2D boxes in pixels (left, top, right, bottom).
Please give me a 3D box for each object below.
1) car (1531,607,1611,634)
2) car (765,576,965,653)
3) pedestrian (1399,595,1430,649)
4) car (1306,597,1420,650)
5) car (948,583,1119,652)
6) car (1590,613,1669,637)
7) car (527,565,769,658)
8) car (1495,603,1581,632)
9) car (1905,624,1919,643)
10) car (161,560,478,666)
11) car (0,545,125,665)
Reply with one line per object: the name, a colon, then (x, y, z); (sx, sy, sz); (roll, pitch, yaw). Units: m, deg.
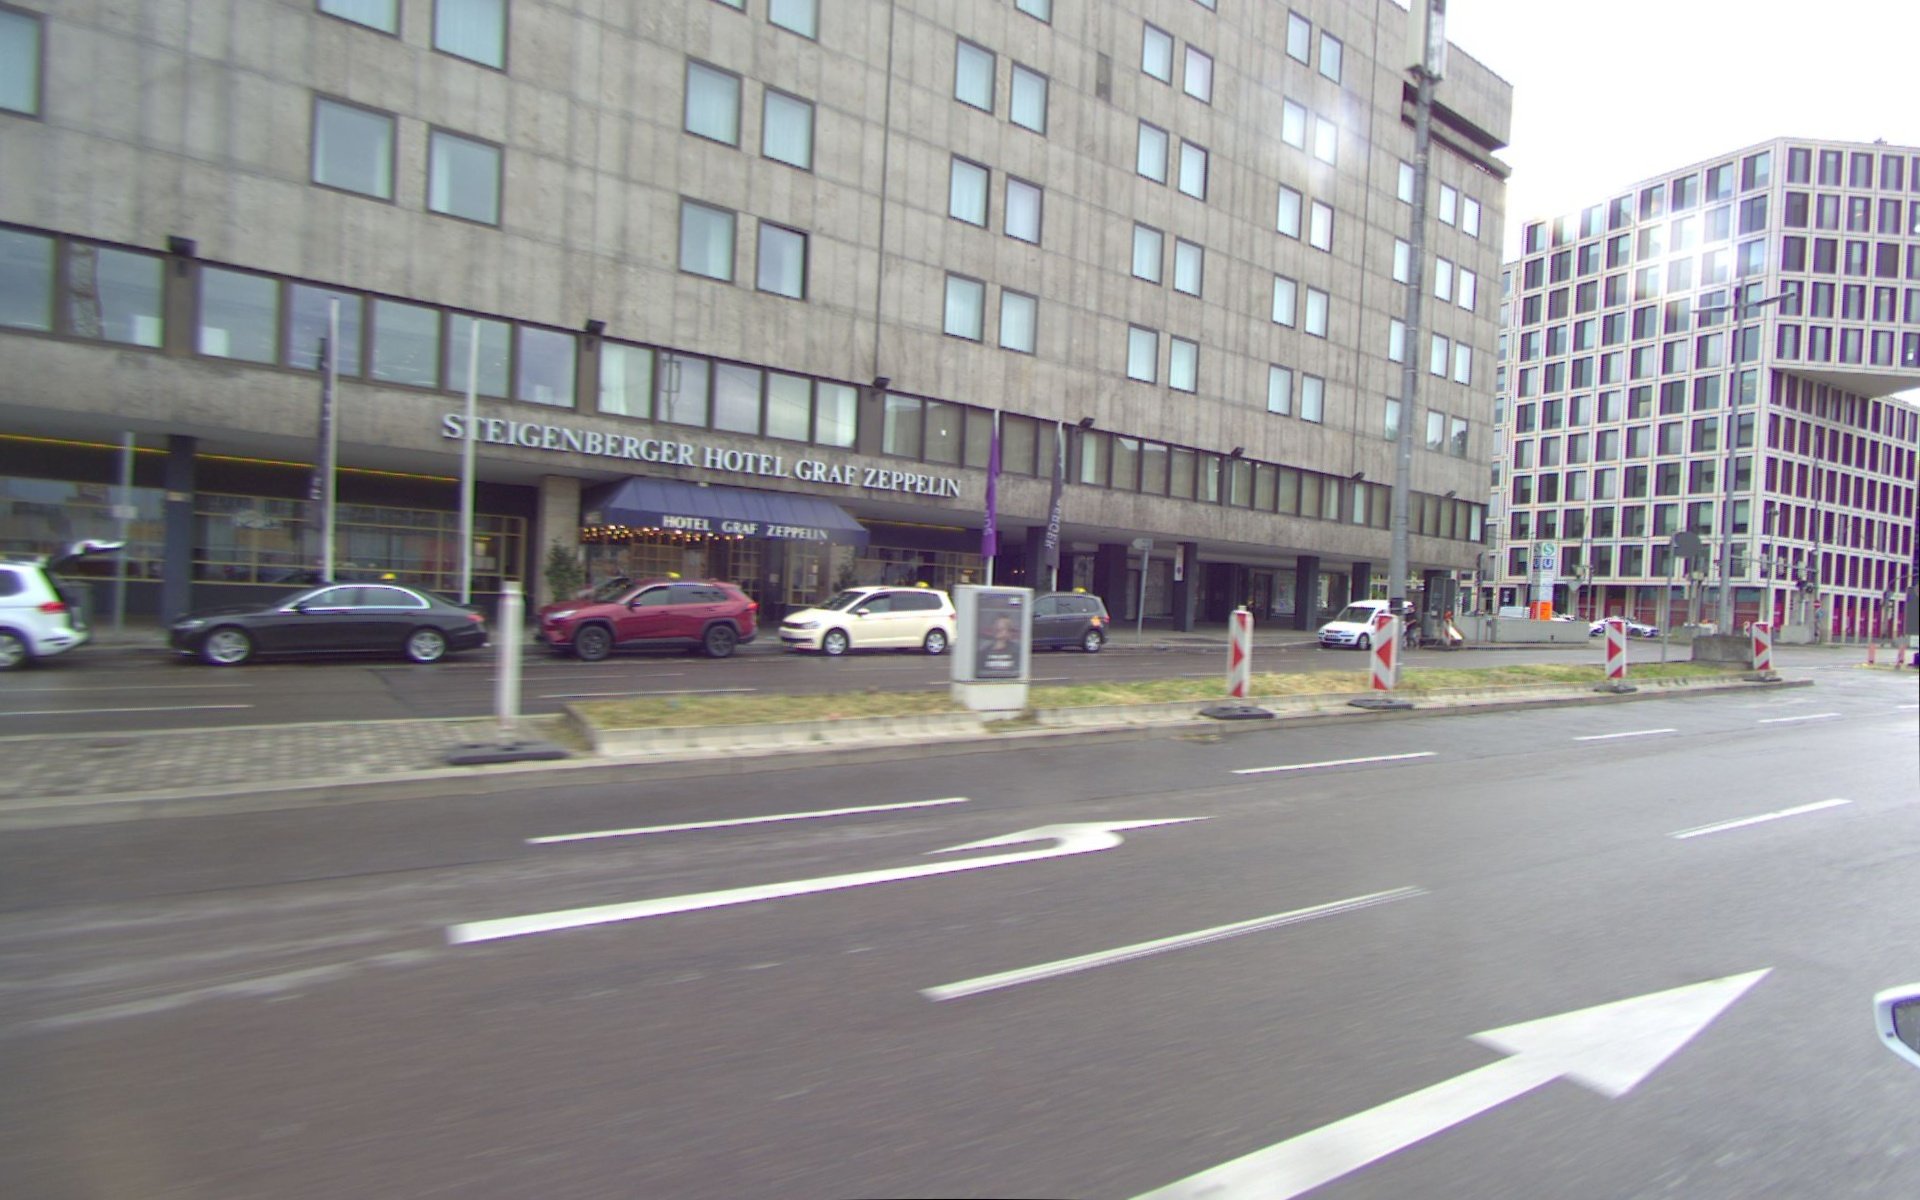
car: (44.576, 1.480, 73.400); (1.992, 1.761, 4.631); (1, 0, -27)
car: (-2.249, 0.365, 24.434); (4.532, 1.720, 1.804); (2, 0, -35)
pedestrian: (16.431, 0.774, 36.307); (0.788, 1.911, 0.686); (1, 1, -35)
car: (14.762, 0.846, 36.687); (4.328, 1.786, 1.762); (1, 1, -35)
car: (2.052, 0.500, 27.560); (4.466, 1.751, 1.805); (2, 0, -33)
car: (50.449, 1.885, 75.832); (1.989, 1.620, 4.638); (2, 0, -22)
car: (-6.636, 0.262, 21.522); (4.597, 1.791, 1.891); (2, 0, -33)
car: (41.422, 1.237, 72.105); (2.059, 1.930, 5.054); (1, 0, -24)
car: (95.120, 3.349, 98.326); (1.769, 1.840, 4.002); (2, 1, 9)
car: (-11.323, 0.229, 18.041); (4.570, 1.682, 1.890); (1, 1, -35)
car: (-15.584, 0.029, 14.972); (4.665, 1.781, 1.742); (2, 0, -36)
